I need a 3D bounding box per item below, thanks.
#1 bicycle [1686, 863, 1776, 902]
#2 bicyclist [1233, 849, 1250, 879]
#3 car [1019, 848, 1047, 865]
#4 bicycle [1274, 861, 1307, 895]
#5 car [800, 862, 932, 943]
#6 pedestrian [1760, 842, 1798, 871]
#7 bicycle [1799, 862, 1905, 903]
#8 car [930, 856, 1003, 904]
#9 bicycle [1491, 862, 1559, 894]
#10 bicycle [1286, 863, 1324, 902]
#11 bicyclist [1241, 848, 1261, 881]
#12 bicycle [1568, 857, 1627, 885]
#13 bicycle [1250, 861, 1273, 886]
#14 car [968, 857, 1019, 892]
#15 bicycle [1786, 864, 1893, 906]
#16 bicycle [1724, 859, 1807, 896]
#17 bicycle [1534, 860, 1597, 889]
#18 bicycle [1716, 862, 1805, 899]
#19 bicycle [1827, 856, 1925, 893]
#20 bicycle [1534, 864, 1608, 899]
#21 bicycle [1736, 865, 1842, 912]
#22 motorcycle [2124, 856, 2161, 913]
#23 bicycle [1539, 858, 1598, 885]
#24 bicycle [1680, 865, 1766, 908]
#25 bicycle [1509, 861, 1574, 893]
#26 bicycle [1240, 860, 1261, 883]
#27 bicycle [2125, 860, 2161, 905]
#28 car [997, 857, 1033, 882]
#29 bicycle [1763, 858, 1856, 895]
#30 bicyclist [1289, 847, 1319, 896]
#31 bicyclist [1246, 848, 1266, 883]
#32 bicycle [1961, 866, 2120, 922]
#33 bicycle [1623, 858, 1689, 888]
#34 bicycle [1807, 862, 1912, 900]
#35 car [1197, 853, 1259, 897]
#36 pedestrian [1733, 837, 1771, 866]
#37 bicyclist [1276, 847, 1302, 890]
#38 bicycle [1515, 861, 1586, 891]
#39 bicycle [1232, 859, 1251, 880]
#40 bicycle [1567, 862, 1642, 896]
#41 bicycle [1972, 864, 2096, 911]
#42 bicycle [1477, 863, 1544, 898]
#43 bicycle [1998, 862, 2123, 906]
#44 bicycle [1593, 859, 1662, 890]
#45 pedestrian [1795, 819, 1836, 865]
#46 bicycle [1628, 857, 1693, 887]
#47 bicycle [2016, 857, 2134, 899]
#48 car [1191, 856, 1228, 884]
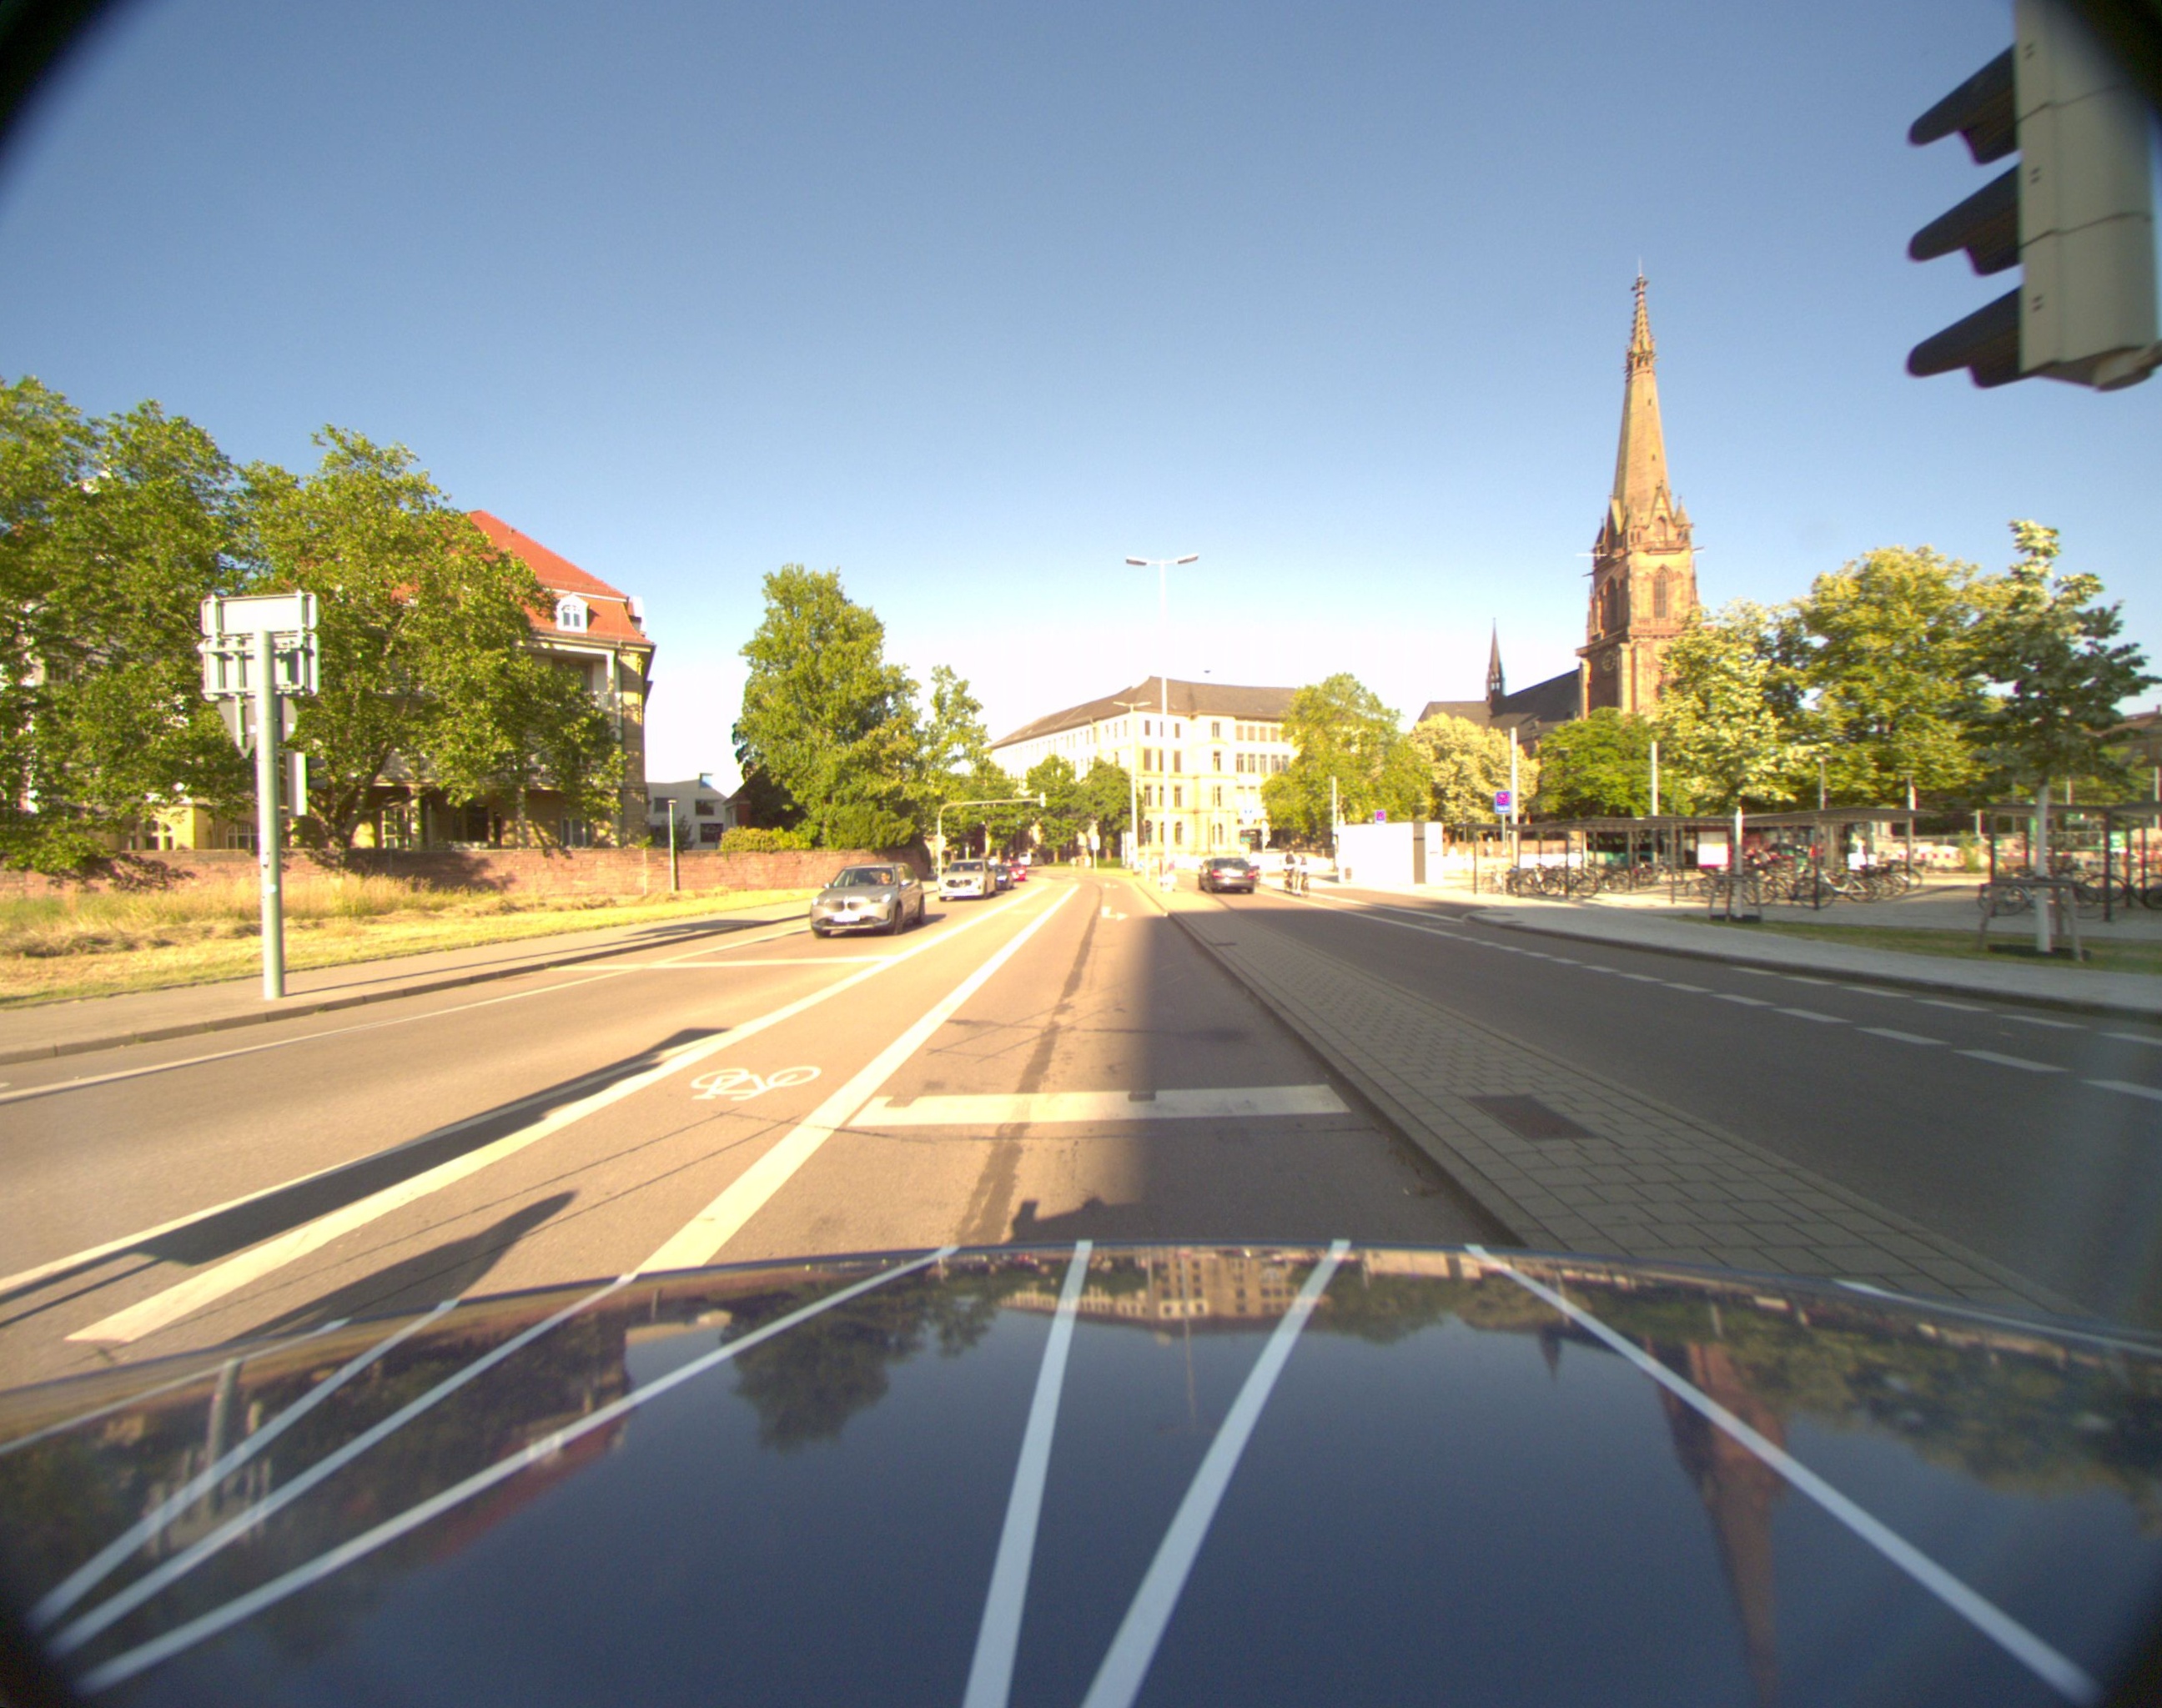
[{"bbox_3d":[19.588,0.826,22.932,0.867,1.038,1.926,-4,3,-35],"label":"bicycle"},{"bbox_3d":[8.916,0.546,42.231,0.865,1.644,0.945,-1,1,8],"label":"bicyclist"},{"bbox_3d":[-6.614,0.321,105.886,1.995,2.003,4.157,0,5,27],"label":"car"},{"bbox_3d":[8.270,0.925,30.142,0.764,1.180,2.606,-3,1,5],"label":"bicycle"},{"bbox_3d":[-4.973,1.044,18.268,2.155,1.611,4.360,-1,1,-4],"label":"car"},{"bbox_3d":[33.608,0.137,36.602,1.055,1.342,1.076,-4,1,-30],"label":"pedestrian"},{"bbox_3d":[21.936,0.798,21.681,0.605,1.038,2.029,-3,3,-30],"label":"bicycle"},{"bbox_3d":[-4.726,1.027,31.975,2.193,1.674,4.606,-3,1,1],"label":"car"},{"bbox_3d":[15.803,0.836,27.089,0.684,1.049,2.017,-4,3,-32],"label":"bicycle"},{"bbox_3d":[7.924,0.981,26.980,0.764,1.180,2.606,-3,1,5],"label":"bicycle"},{"bbox_3d":[8.815,0.537,39.428,0.865,1.644,0.944,-1,1,5],"label":"bicyclist"},{"bbox_3d":[20.800,0.658,30.656,0.418,1.049,1.968,-4,3,-32],"label":"bicycle"},{"bbox_3d":[8.593,0.927,36.212,0.881,1.091,2.190,-1,1,8],"label":"bicycle"},{"bbox_3d":[-4.582,1.030,40.385,2.194,1.577,4.605,-3,1,-1],"label":"car"},{"bbox_3d":[20.991,0.821,21.080,0.605,1.038,2.029,-4,3,-33],"label":"bicycle"},{"bbox_3d":[21.953,0.733,24.409,0.537,1.083,1.926,-4,3,-34],"label":"bicycle"},{"bbox_3d":[18.816,0.771,29.547,0.512,1.049,1.968,-4,3,-40],"label":"bicycle"},{"bbox_3d":[20.960,0.797,23.488,0.768,1.038,1.926,-4,3,-35],"label":"bicycle"},{"bbox_3d":[25.094,0.613,24.022,0.567,1.083,2.066,-4,3,-34],"label":"bicycle"},{"bbox_3d":[15.968,0.886,24.819,0.568,1.049,1.968,-4,3,-36],"label":"bicycle"},{"bbox_3d":[18.623,0.885,20.041,0.568,1.099,1.968,-4,3,-33],"label":"bicycle"},{"bbox_3d":[24.741,0.666,16.528,0.721,1.240,2.351,-4,1,-31],"label":"motorcycle"},{"bbox_3d":[19.876,0.700,31.035,0.498,1.049,1.968,-4,3,-36],"label":"bicycle"},{"bbox_3d":[18.128,0.895,21.488,0.486,1.099,1.796,-4,3,-39],"label":"bicycle"},{"bbox_3d":[16.668,0.828,27.548,0.684,1.049,1.931,-4,3,-32],"label":"bicycle"},{"bbox_3d":[8.802,0.896,39.481,0.881,1.091,2.190,-1,1,8],"label":"bicycle"},{"bbox_3d":[26.177,0.677,17.892,0.524,1.038,1.843,-4,3,-37],"label":"bicycle"},{"bbox_3d":[-4.727,1.065,54.838,2.194,1.577,4.605,-3,1,-1],"label":"car"},{"bbox_3d":[23.380,0.694,24.429,0.567,1.083,2.066,-4,3,-34],"label":"bicycle"},{"bbox_3d":[7.912,0.617,27.034,0.764,1.659,1.062,-3,1,5],"label":"bicyclist"},{"bbox_3d":[8.316,0.548,36.136,0.865,1.644,0.945,-1,1,8],"label":"bicyclist"},{"bbox_3d":[20.900,0.849,16.609,0.746,1.099,2.119,-4,1,-37],"label":"bicycle"},{"bbox_3d":[21.776,0.701,28.820,0.418,1.049,1.968,-4,3,-32],"label":"bicycle"},{"bbox_3d":[23.126,0.775,22.621,0.605,1.038,2.102,-4,3,-35],"label":"bicycle"},{"bbox_3d":[5.730,0.787,30.071,1.805,1.436,3.977,-2,2,2],"label":"car"},{"bbox_3d":[32.157,-0.117,36.421,1.055,1.342,1.076,-4,1,-30],"label":"pedestrian"},{"bbox_3d":[8.256,0.561,30.172,0.764,1.659,1.062,-3,1,5],"label":"bicyclist"},{"bbox_3d":[17.756,0.812,28.778,0.839,1.049,2.114,-4,3,-35],"label":"bicycle"},{"bbox_3d":[8.922,0.834,42.232,0.881,1.091,2.190,-1,1,8],"label":"bicycle"},{"bbox_3d":[17.810,0.821,25.910,0.759,1.049,1.968,-4,3,-33],"label":"bicycle"},{"bbox_3d":[22.995,0.777,18.385,0.524,1.038,1.843,-4,3,-38],"label":"bicycle"},{"bbox_3d":[14.664,0.884,25.997,0.568,1.049,1.969,-3,2,-28],"label":"bicycle"},{"bbox_3d":[25.138,0.744,19.543,0.524,1.038,1.926,-4,3,-34],"label":"bicycle"},{"bbox_3d":[19.917,0.732,27.737,0.568,1.049,1.968,-4,3,-36],"label":"bicycle"},{"bbox_3d":[33.404,-0.537,34.559,1.136,2.002,1.027,-4,1,-31],"label":"pedestrian"},{"bbox_3d":[22.134,0.680,29.053,0.418,1.049,1.968,-4,3,-32],"label":"bicycle"},{"bbox_3d":[27.097,0.630,20.750,0.524,1.038,1.926,-4,3,-34],"label":"bicycle"},{"bbox_3d":[6.651,0.789,39.530,1.383,1.330,3.503,-1,1,1],"label":"car"}]
